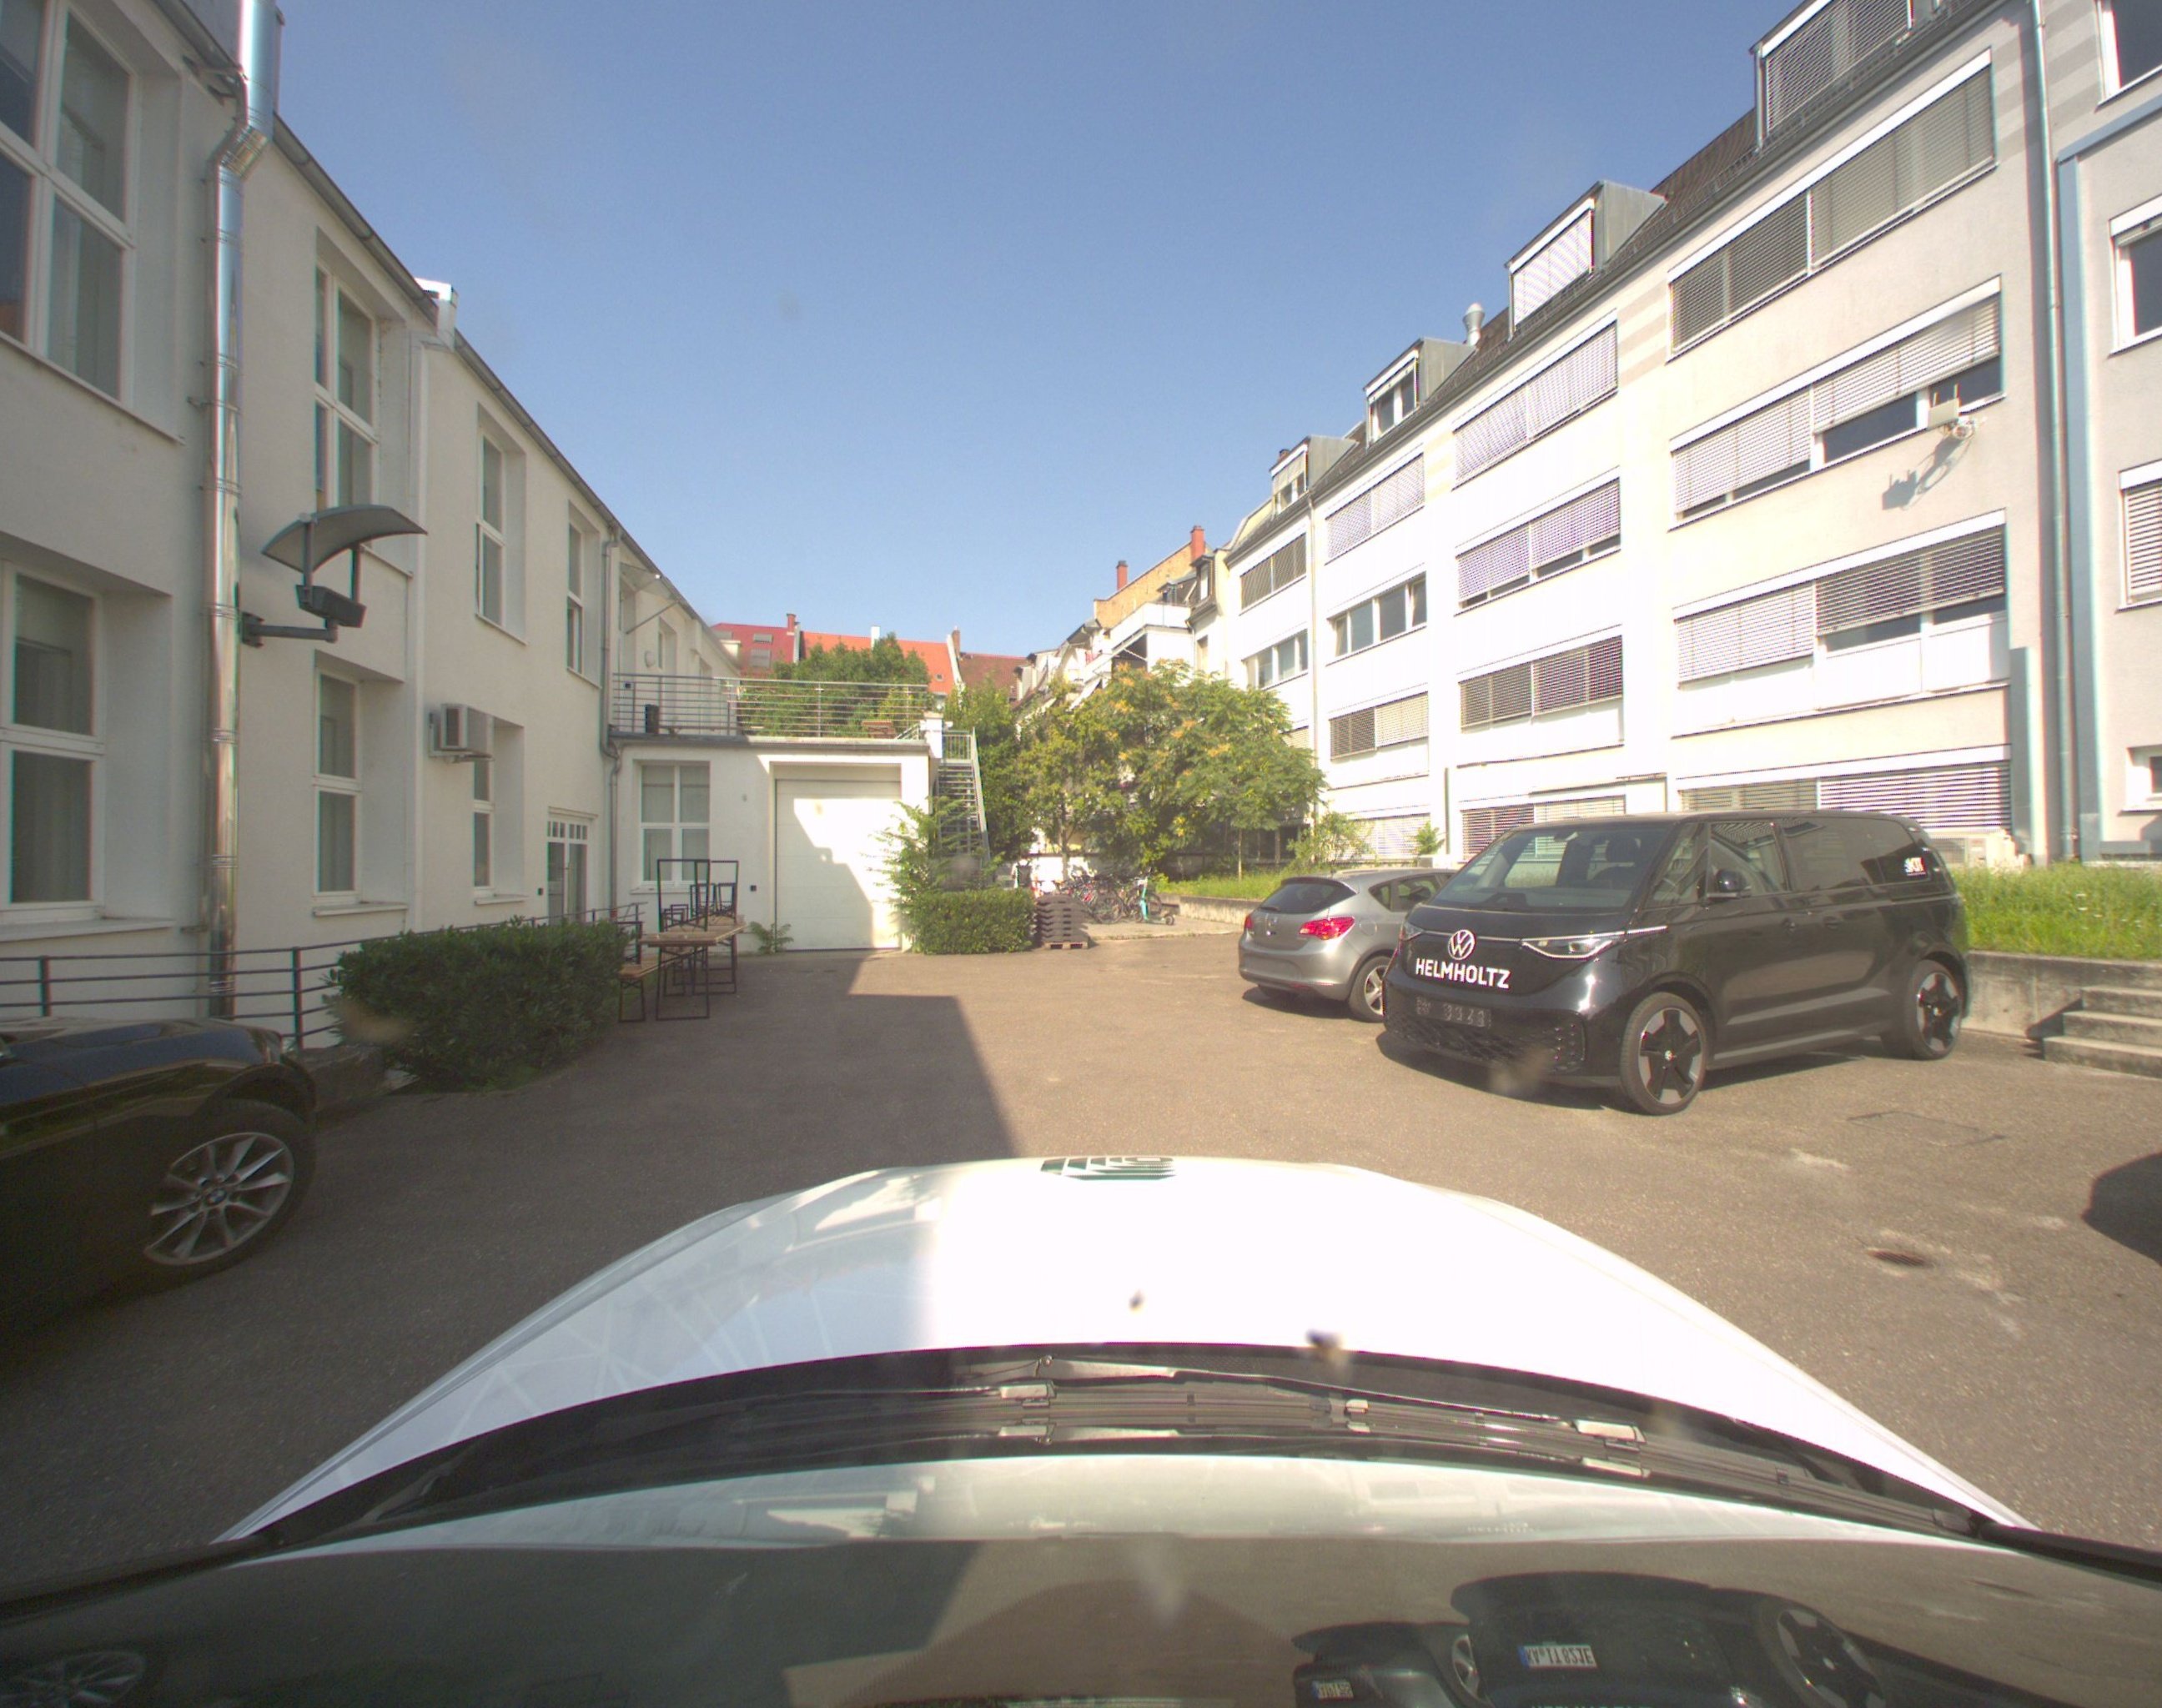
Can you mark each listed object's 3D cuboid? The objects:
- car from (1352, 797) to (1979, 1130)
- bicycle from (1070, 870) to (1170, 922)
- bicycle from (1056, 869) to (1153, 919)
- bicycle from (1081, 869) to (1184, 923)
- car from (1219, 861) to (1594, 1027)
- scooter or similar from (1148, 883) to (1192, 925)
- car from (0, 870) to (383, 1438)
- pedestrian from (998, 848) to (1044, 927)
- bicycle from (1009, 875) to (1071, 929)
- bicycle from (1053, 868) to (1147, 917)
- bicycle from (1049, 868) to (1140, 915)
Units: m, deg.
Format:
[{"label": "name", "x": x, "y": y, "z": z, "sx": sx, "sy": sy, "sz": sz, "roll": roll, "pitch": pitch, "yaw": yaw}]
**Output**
[{"label": "car", "x": 4.481, "y": 0.601, "z": 6.276, "sx": 4.352, "sy": 1.859, "sz": 1.900, "roll": -1, "pitch": 0, "yaw": -22}, {"label": "bicycle", "x": 0.963, "y": 1.015, "z": 20.012, "sx": 2.413, "sy": 1.246, "sz": 0.524, "roll": 1, "pitch": -1, "yaw": -13}, {"label": "bicycle", "x": 0.599, "y": 1.016, "z": 20.796, "sx": 2.413, "sy": 1.246, "sz": 0.524, "roll": 1, "pitch": -1, "yaw": -13}, {"label": "bicycle", "x": 1.233, "y": 0.994, "z": 19.385, "sx": 2.413, "sy": 1.246, "sz": 0.524, "roll": 1, "pitch": -1, "yaw": -13}, {"label": "car", "x": 3.627, "y": 0.833, "z": 9.008, "sx": 3.916, "sy": 1.466, "sz": 1.649, "roll": -1, "pitch": 0, "yaw": -26}, {"label": "scooter or similar", "x": 2.070, "y": 1.157, "z": 19.033, "sx": 0.986, "sy": 0.924, "sz": 0.362, "roll": 0, "pitch": -1, "yaw": 40}, {"label": "car", "x": -3.500, "y": 0.757, "z": 1.434, "sx": 1.796, "sy": 1.428, "sz": 4.115, "roll": 1, "pitch": -1, "yaw": -15}, {"label": "pedestrian", "x": -1.381, "y": 0.750, "z": 18.745, "sx": 0.864, "sy": 1.772, "sz": 0.604, "roll": 1, "pitch": -1, "yaw": -35}, {"label": "bicycle", "x": -0.969, "y": 1.070, "z": 18.686, "sx": 0.491, "sy": 1.143, "sz": 1.973, "roll": -1, "pitch": 0, "yaw": -32}, {"label": "bicycle", "x": 0.510, "y": 1.009, "z": 21.352, "sx": 2.413, "sy": 1.246, "sz": 0.524, "roll": 1, "pitch": -1, "yaw": -13}, {"label": "bicycle", "x": 0.372, "y": 1.014, "z": 22.051, "sx": 2.413, "sy": 1.246, "sz": 0.524, "roll": 1, "pitch": -1, "yaw": -13}]
